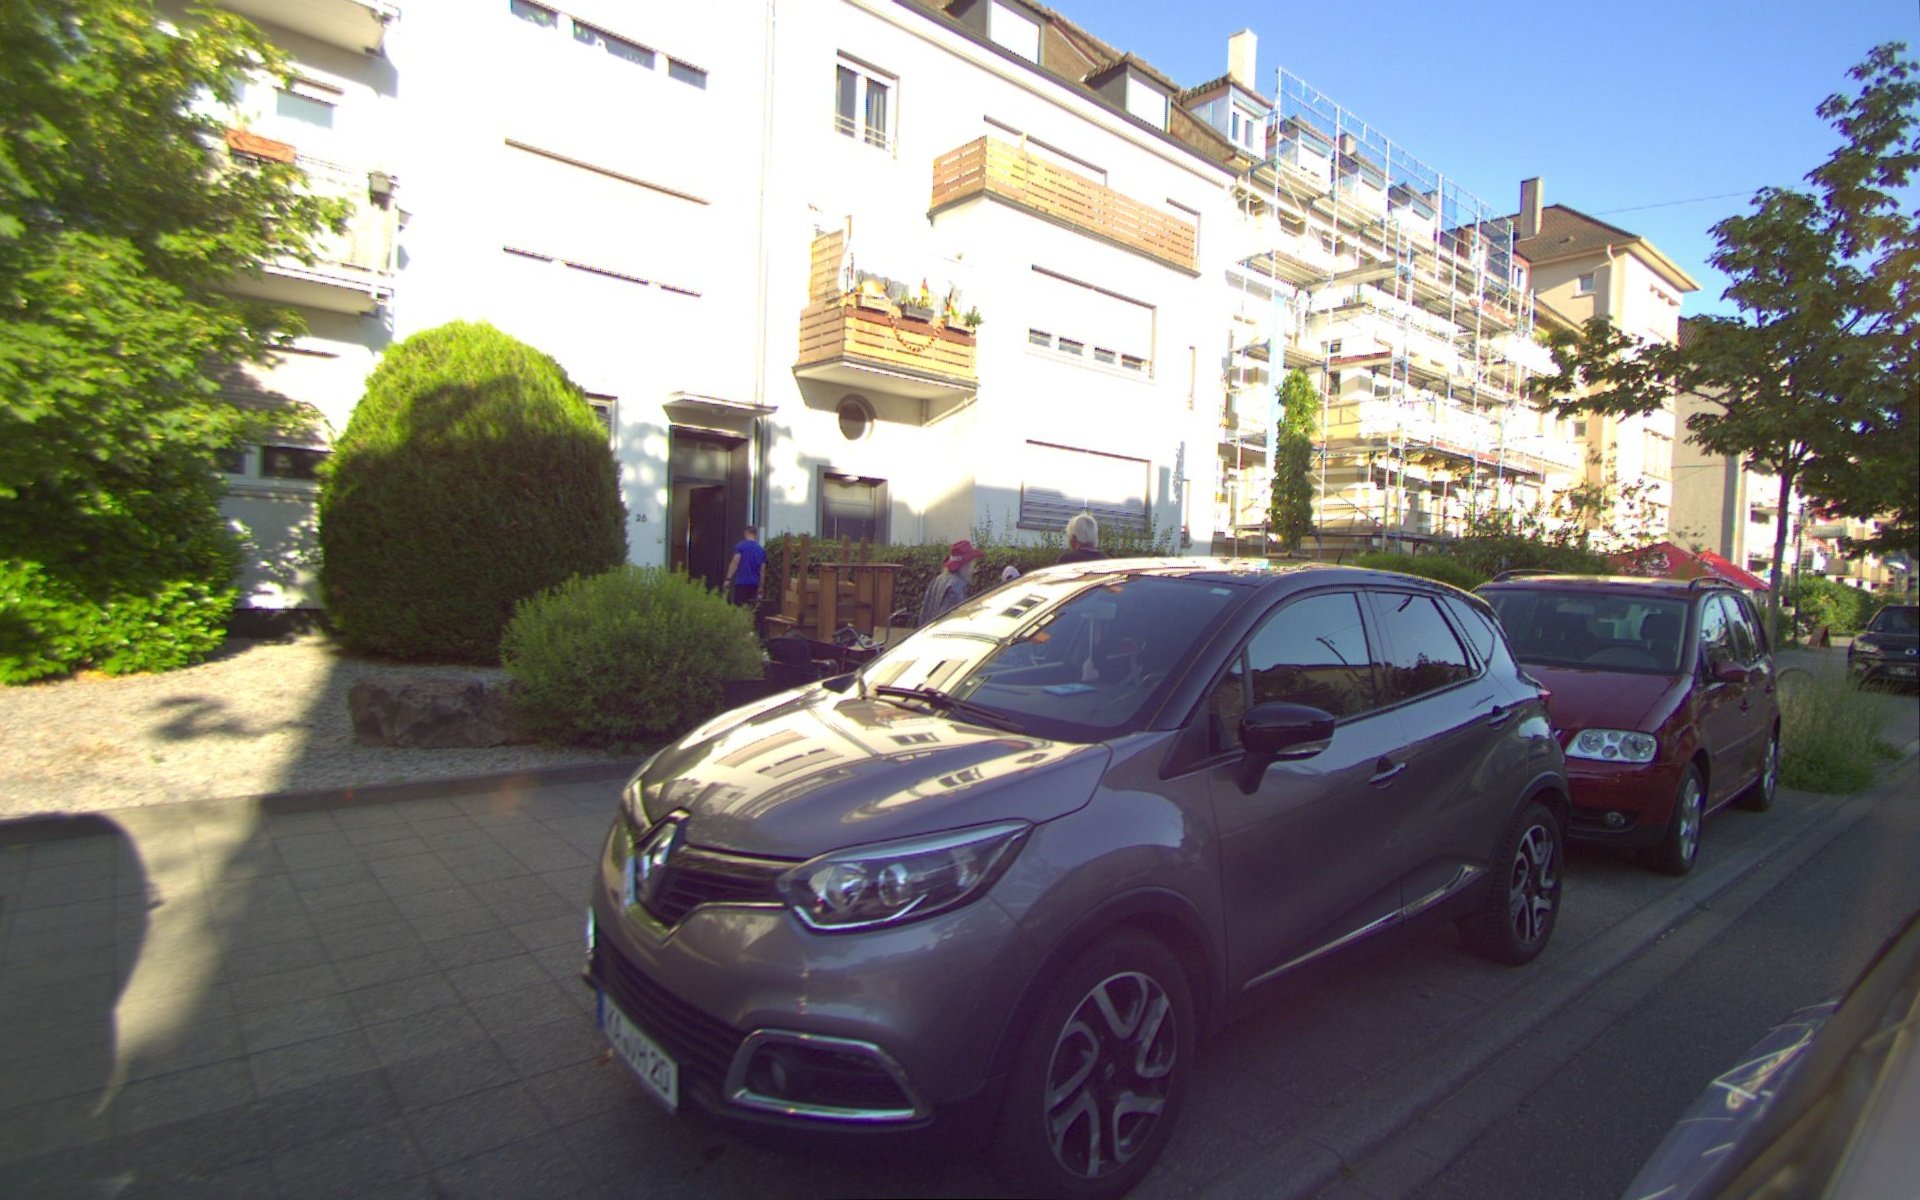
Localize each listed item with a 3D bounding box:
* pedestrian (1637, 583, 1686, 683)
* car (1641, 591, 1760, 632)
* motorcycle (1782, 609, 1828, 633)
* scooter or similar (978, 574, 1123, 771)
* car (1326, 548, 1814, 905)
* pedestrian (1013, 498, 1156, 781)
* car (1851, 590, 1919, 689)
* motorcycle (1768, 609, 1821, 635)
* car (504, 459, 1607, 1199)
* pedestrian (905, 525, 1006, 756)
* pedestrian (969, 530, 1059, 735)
[{"bbox_3d":[11.617,0.532,16.784,0.553,1.587,0.740,3,1,31],"label":"pedestrian"},{"bbox_3d":[39.745,0.581,54.405,1.920,1.888,4.836,-1,3,-42],"label":"car"},{"bbox_3d":[42.992,1.053,51.523,0.584,1.125,1.697,1,1,-39],"label":"motorcycle"},{"bbox_3d":[0.652,0.491,7.427,0.707,1.333,0.749,1,1,-34],"label":"scooter or similar"},{"bbox_3d":[4.417,0.584,6.957,4.521,1.676,1.723,1,1,-44],"label":"car"},{"bbox_3d":[0.872,0.255,7.107,0.749,1.872,0.550,1,1,-34],"label":"pedestrian"},{"bbox_3d":[17.910,0.725,18.592,3.959,1.652,1.795,1,2,-42],"label":"car"},{"bbox_3d":[42.050,1.106,51.016,1.981,1.215,0.764,2,1,38],"label":"motorcycle"},{"bbox_3d":[0.692,0.525,3.643,3.929,1.587,1.640,1,3,-41],"label":"car"},{"bbox_3d":[-0.035,0.291,7.872,0.511,1.718,0.518,3,1,45],"label":"pedestrian"},{"bbox_3d":[0.469,0.263,8.820,0.511,1.718,0.518,3,1,45],"label":"pedestrian"}]
